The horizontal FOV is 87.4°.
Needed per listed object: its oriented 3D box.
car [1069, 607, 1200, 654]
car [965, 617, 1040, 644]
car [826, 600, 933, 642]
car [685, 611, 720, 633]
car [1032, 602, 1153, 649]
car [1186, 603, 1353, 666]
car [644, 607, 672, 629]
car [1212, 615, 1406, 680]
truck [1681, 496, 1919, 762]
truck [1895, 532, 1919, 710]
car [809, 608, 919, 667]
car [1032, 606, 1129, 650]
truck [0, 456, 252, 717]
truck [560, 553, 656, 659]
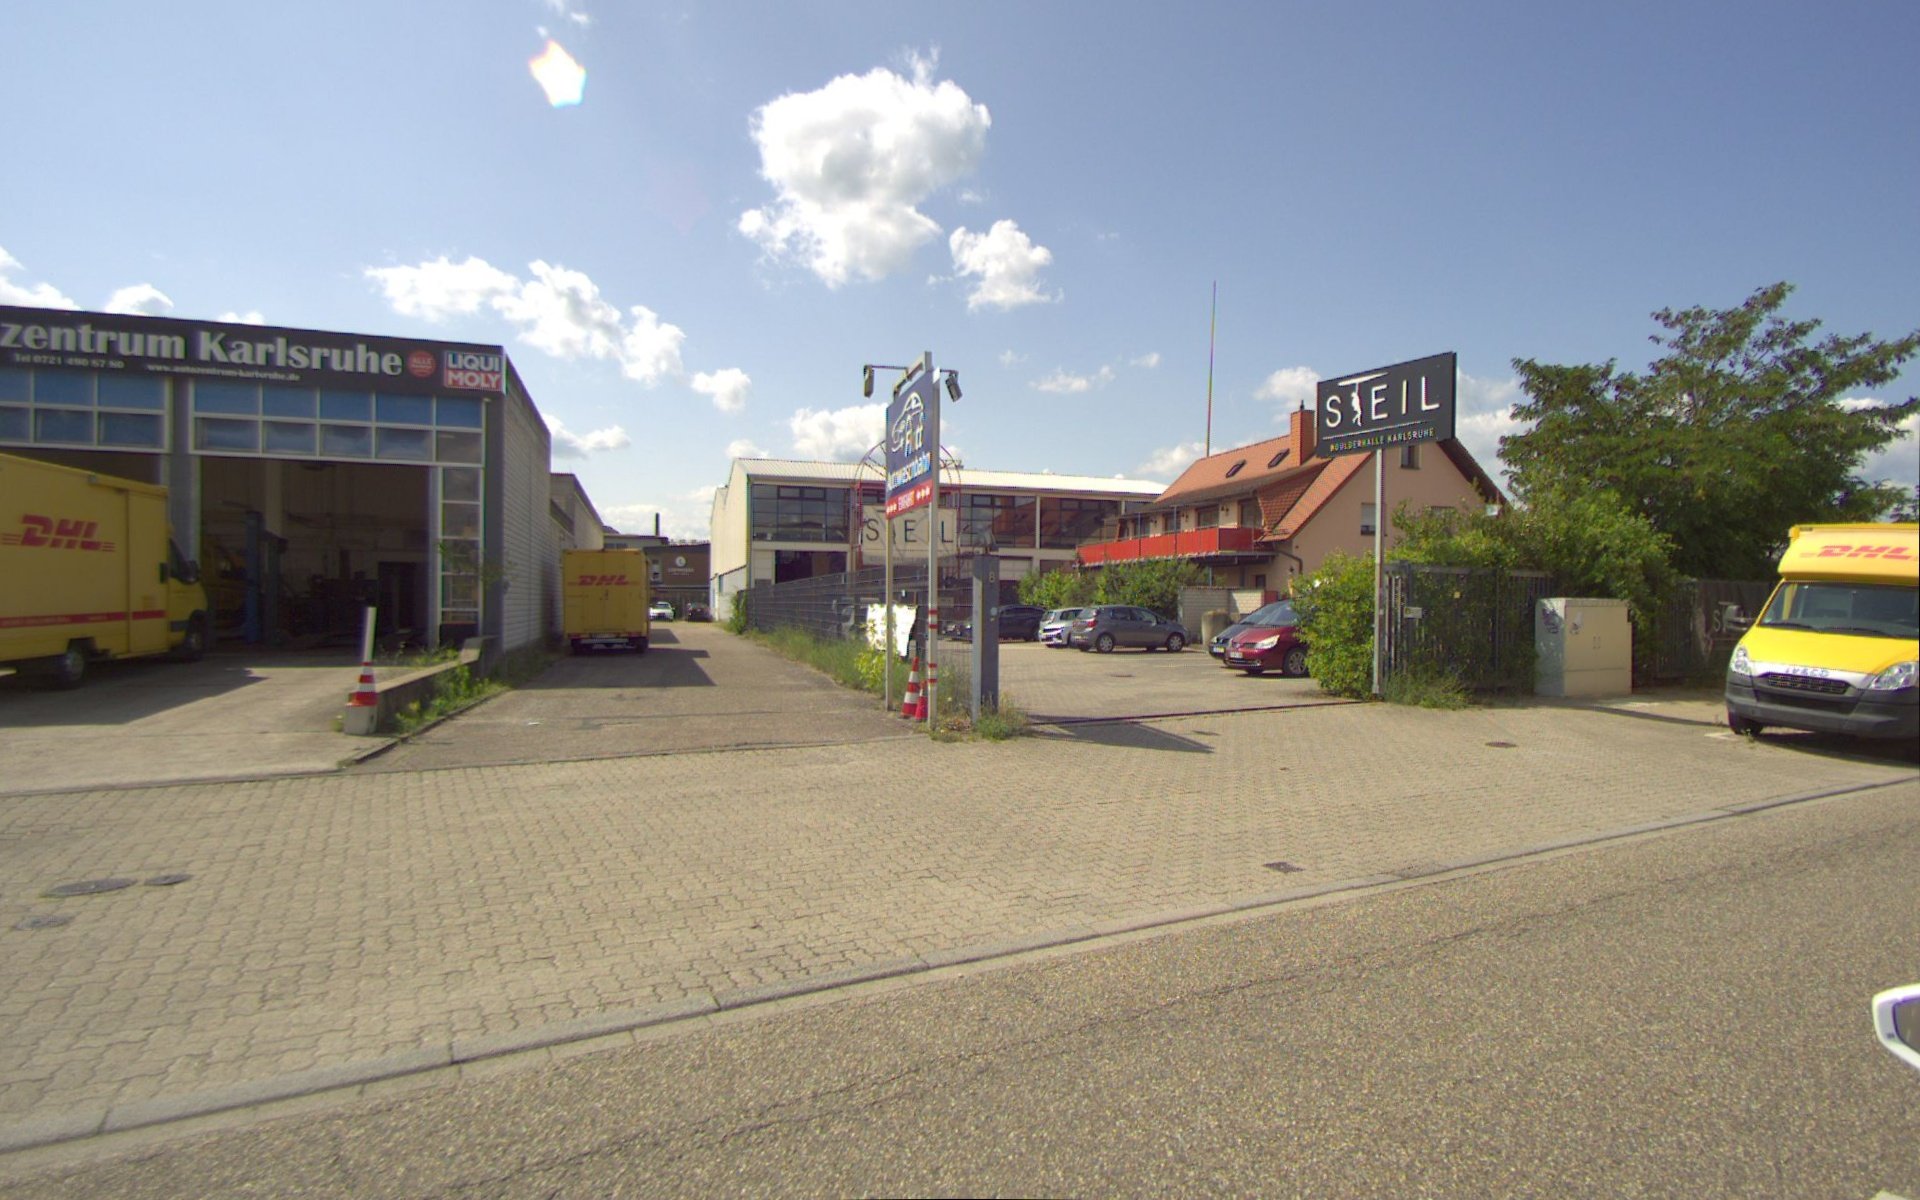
[{"bbox_3d":[5.596,0.956,32.222,3.915,1.447,1.536,0,0,-19],"label":"car"},{"bbox_3d":[1.891,1.357,45.062,3.156,1.209,1.251,0,0,-16],"label":"car"},{"bbox_3d":[-3.895,1.012,48.948,5.092,1.992,1.857,0,0,-5],"label":"car"},{"bbox_3d":[-20.043,1.680,78.116,2.159,1.619,3.978,0,0,-22],"label":"car"},{"bbox_3d":[4.636,0.878,35.169,3.872,1.579,1.685,0,0,-19],"label":"car"},{"bbox_3d":[8.017,0.867,26.085,3.854,1.533,1.764,0,0,-17],"label":"car"},{"bbox_3d":[-22.528,1.347,74.919,1.839,1.541,3.982,0,0,-19],"label":"car"},{"bbox_3d":[7.867,1.026,22.772,3.804,1.322,1.810,-1,-1,-15],"label":"car"},{"bbox_3d":[12.883,0.356,13.710,7.092,2.893,2.257,1,1,-31],"label":"truck"},{"bbox_3d":[19.132,0.417,17.380,7.021,2.901,2.304,1,2,-30],"label":"truck"},{"bbox_3d":[-2.683,0.971,27.270,1.833,1.408,3.978,3,-1,-23],"label":"car"},{"bbox_3d":[4.537,1.025,37.930,3.208,1.595,1.695,0,0,-20],"label":"car"},{"bbox_3d":[-12.575,-0.251,13.927,2.488,2.888,6.595,0,2,-17],"label":"truck"},{"bbox_3d":[-10.319,0.197,29.906,2.286,2.802,6.416,0,-1,-16],"label":"truck"}]
